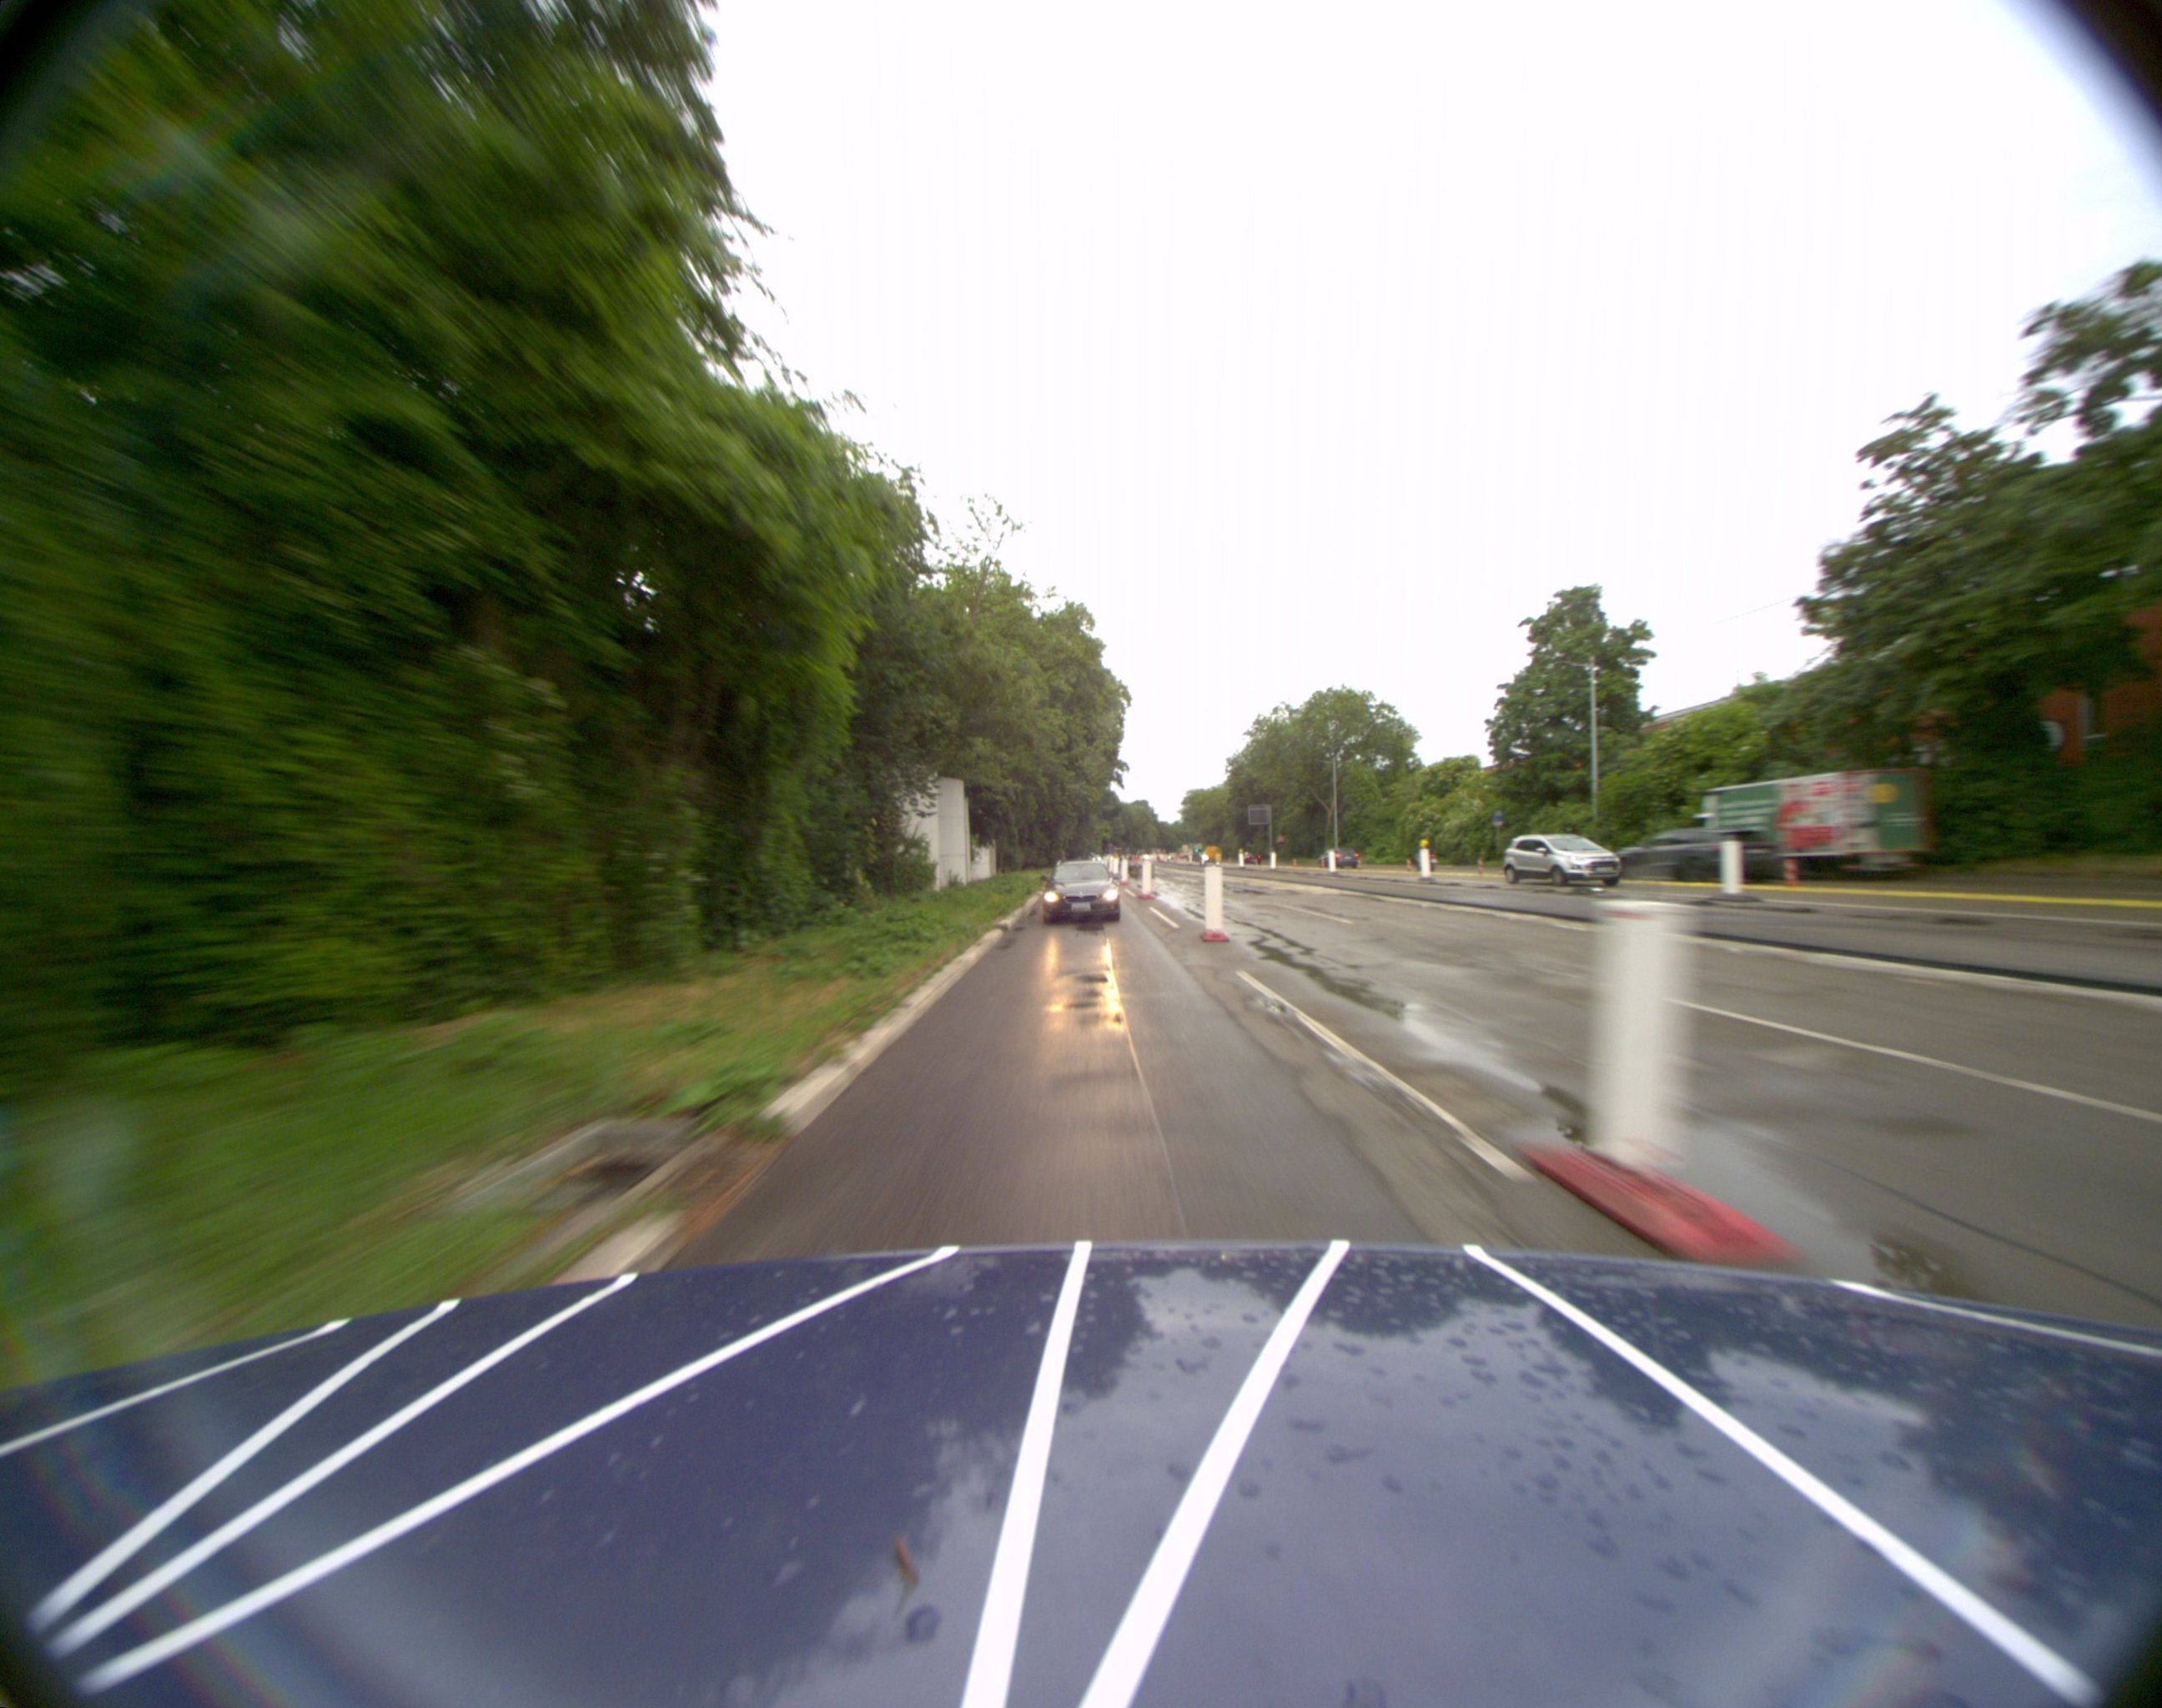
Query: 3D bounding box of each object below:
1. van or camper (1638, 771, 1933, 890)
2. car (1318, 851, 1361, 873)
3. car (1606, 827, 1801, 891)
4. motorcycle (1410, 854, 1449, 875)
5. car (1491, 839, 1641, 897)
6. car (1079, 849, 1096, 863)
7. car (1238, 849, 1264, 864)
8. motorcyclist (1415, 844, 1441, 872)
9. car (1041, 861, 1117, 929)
[{"bbox_3d":[21.457,-0.655,23.915,2.303,3.045,7.451,-3,1,0],"label":"van or camper"},{"bbox_3d":[18.649,0.554,54.904,1.691,1.434,4.107,-3,0,1],"label":"car"},{"bbox_3d":[18.650,0.123,23.130,1.998,1.684,4.806,-2,0,1],"label":"car"},{"bbox_3d":[18.118,0.523,39.549,0.810,0.983,2.593,-4,0,1],"label":"motorcycle"},{"bbox_3d":[15.123,0.393,24.039,1.893,1.555,4.363,-4,0,0],"label":"car"},{"bbox_3d":[0.857,0.251,97.871,1.998,1.707,4.000,-2,1,3],"label":"car"},{"bbox_3d":[19.268,0.306,86.280,1.893,1.543,4.398,-3,0,0],"label":"car"},{"bbox_3d":[18.114,0.220,39.658,0.816,1.402,0.975,-4,1,0],"label":"motorcyclist"},{"bbox_3d":[-0.021,0.925,18.839,1.658,1.409,4.129,-1,0,0],"label":"car"}]
